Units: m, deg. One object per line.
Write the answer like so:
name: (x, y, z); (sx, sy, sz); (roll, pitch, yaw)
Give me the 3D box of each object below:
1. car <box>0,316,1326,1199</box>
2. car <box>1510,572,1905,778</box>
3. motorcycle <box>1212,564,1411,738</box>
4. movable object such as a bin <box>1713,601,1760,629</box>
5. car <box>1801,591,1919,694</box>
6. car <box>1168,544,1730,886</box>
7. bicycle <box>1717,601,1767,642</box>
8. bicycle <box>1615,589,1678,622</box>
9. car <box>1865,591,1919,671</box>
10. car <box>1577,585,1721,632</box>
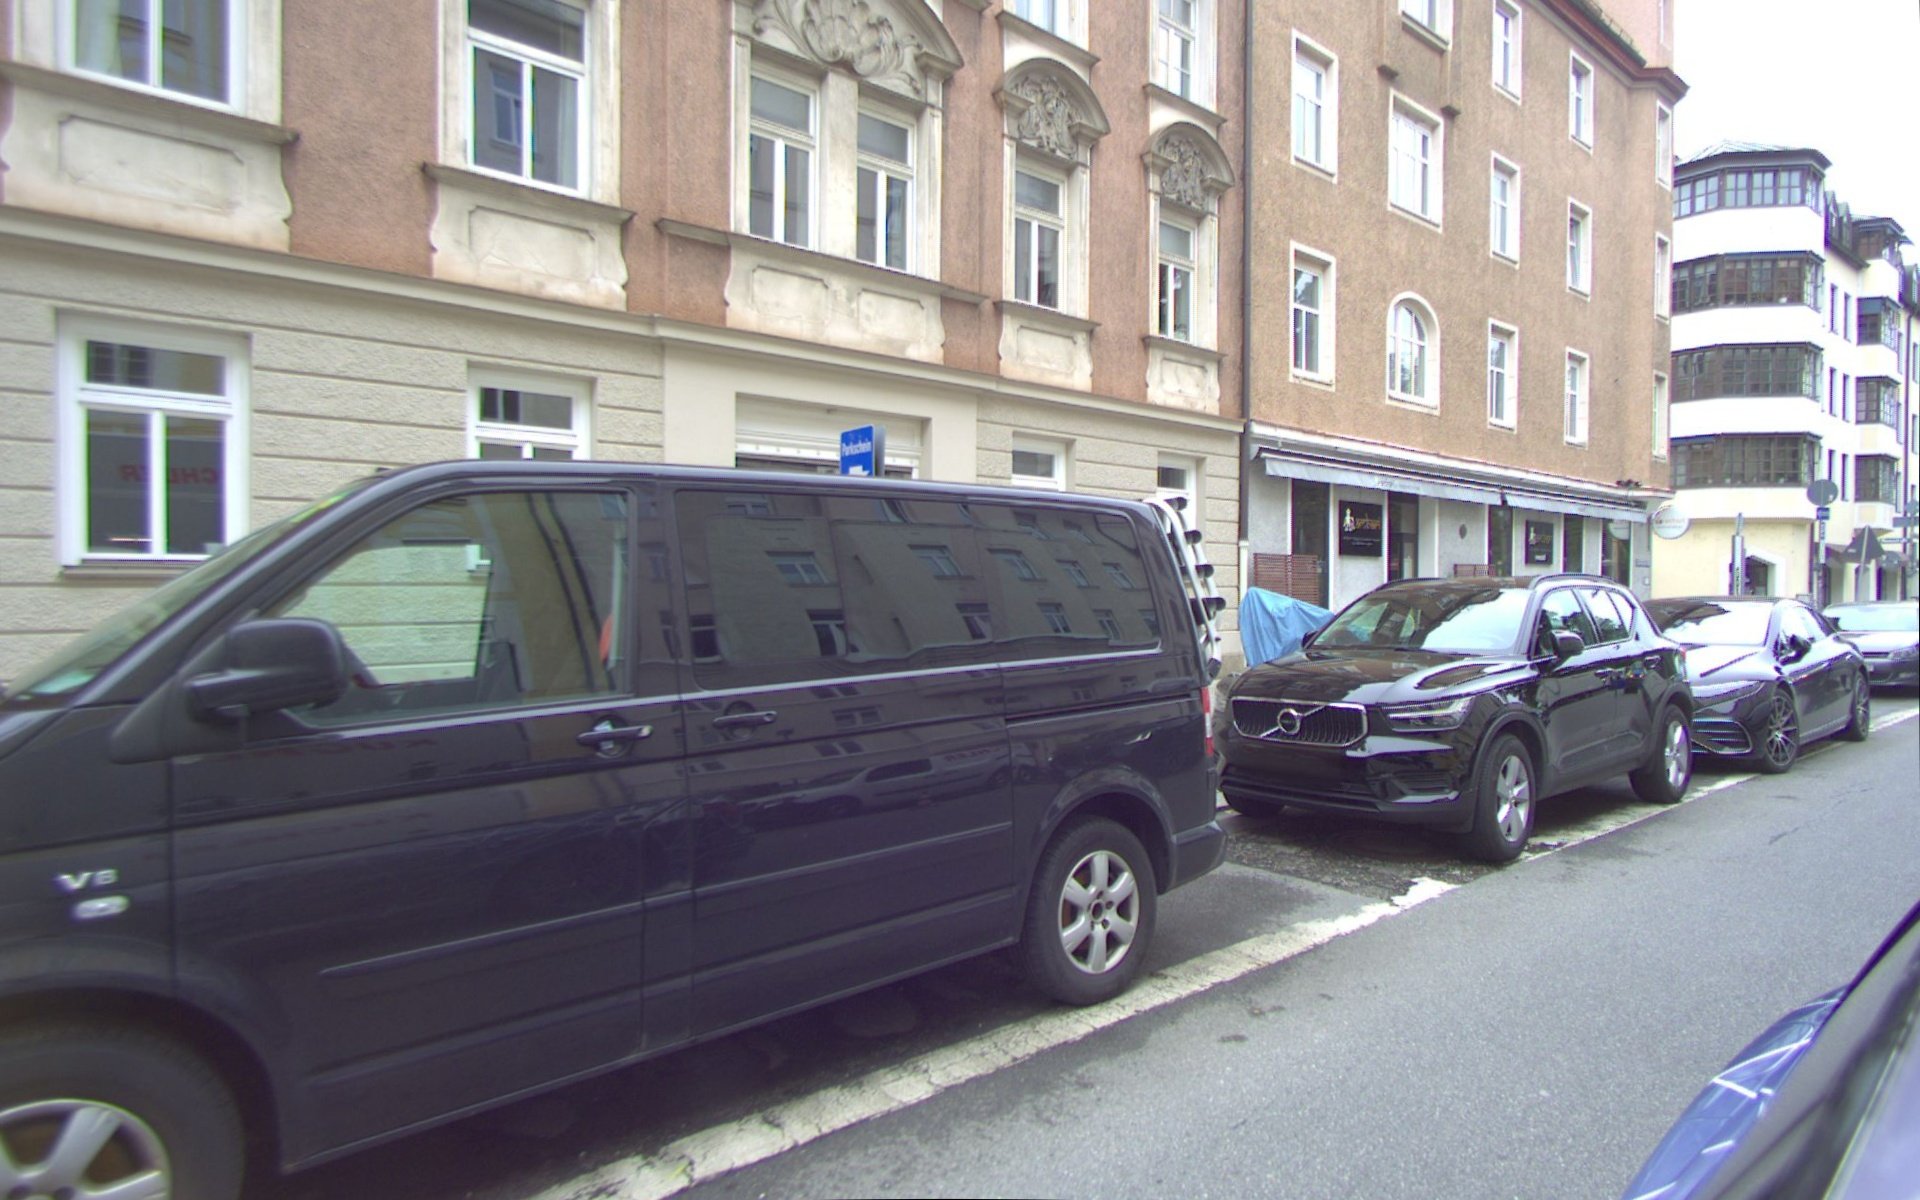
car: (-1.149, 0.412, 3.475); (5.048, 1.944, 2.088); (-4, 1, -37)
car: (7.765, 0.557, 10.250); (5.536, 1.572, 1.935); (0, 0, -39)
motorcycle: (3.423, 0.433, 9.786); (1.960, 1.524, 0.874); (0, 0, -37)
movable object such as a bin: (26.551, 0.493, 34.618); (0.671, 0.911, 1.126); (-1, 2, -36)
car: (14.985, 0.592, 16.215); (4.108, 1.412, 1.576); (-1, 2, -39)
car: (3.568, 0.570, 7.032); (4.327, 1.698, 1.697); (-1, -2, -37)
bicycle: (20.377, 0.551, 26.363); (1.768, 1.018, 0.497); (1, 2, -36)
bicycle: (25.891, 0.204, 38.207); (0.506, 1.201, 1.906); (0, 1, -36)
car: (19.213, 0.546, 19.518); (4.701, 1.422, 1.851); (-1, 1, -38)
car: (23.937, 0.259, 35.264); (1.717, 1.458, 3.748); (3, 0, -33)
